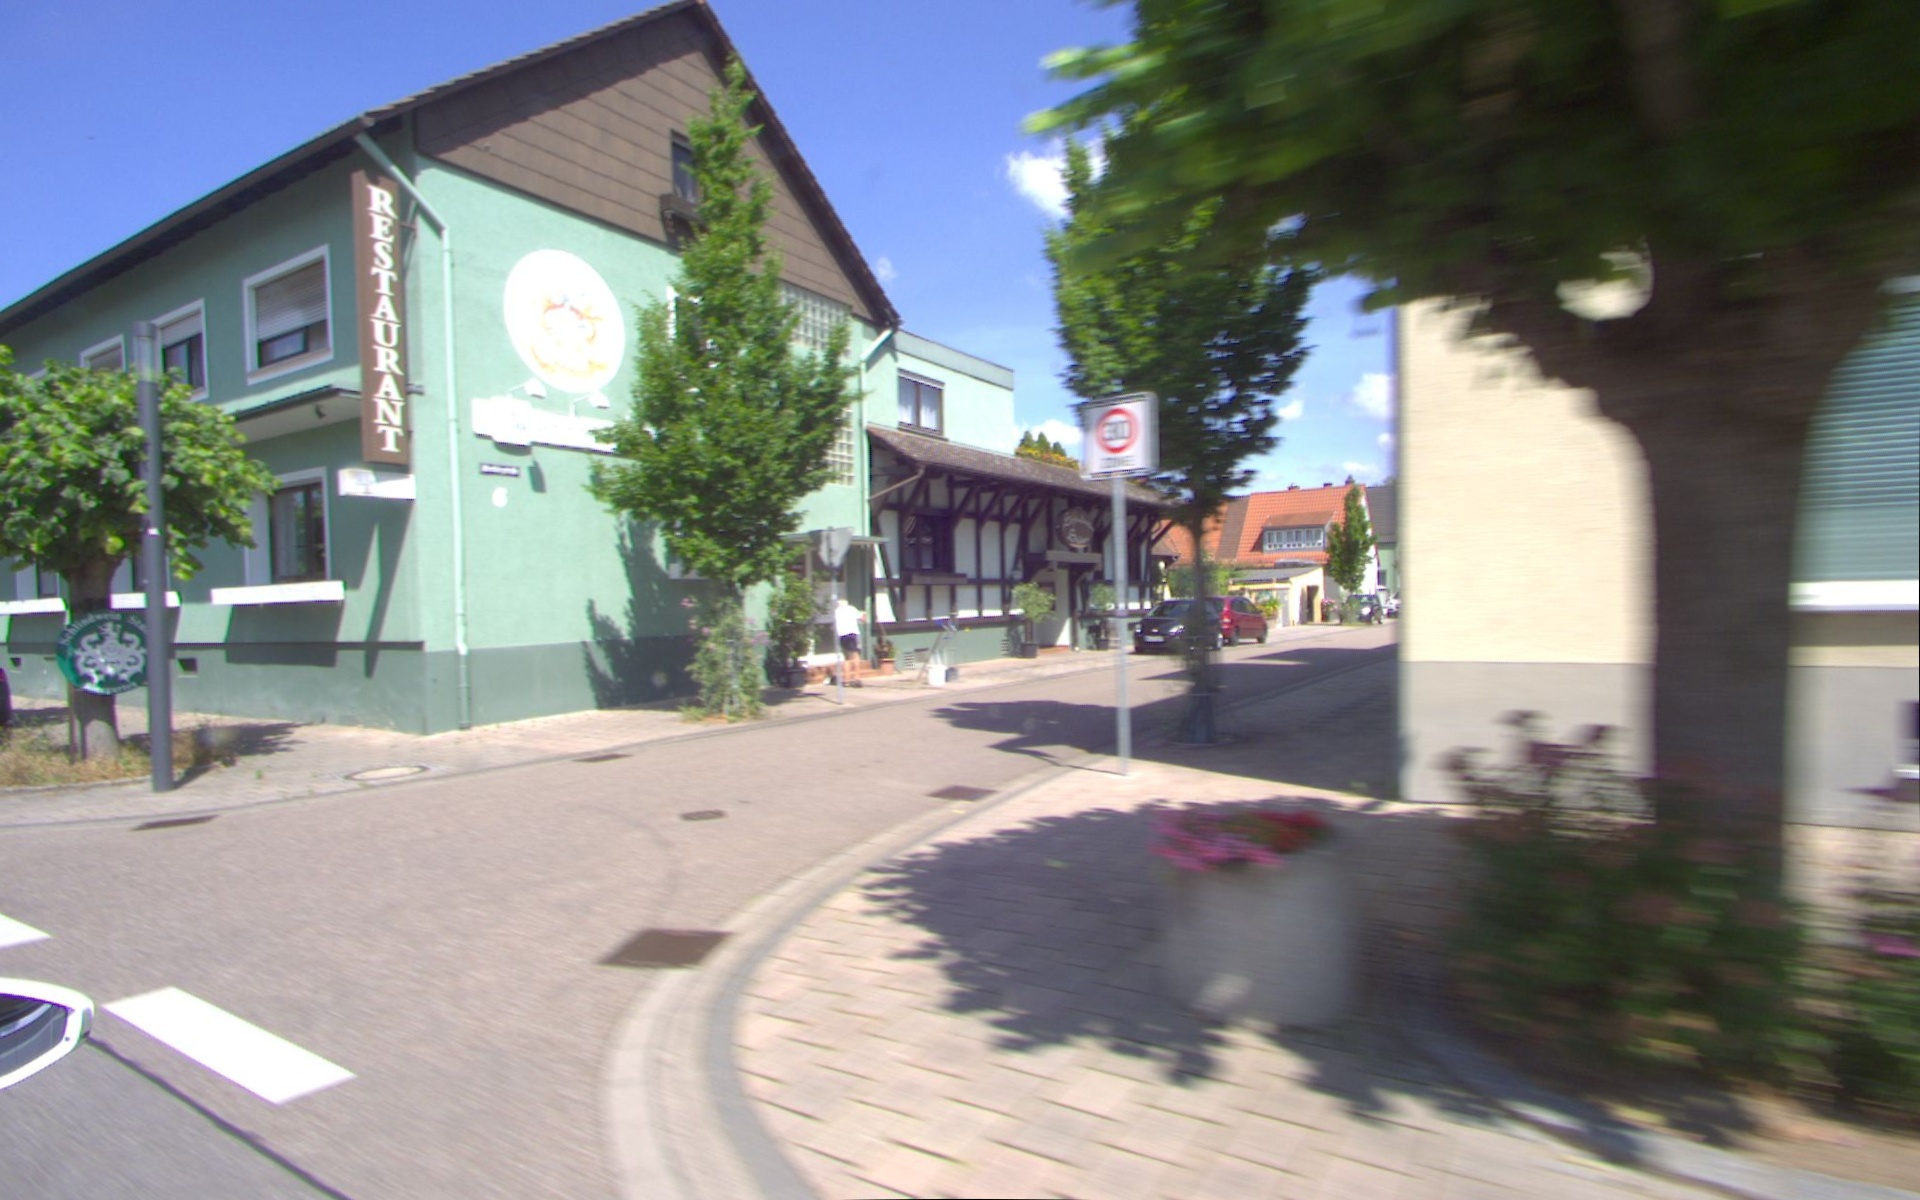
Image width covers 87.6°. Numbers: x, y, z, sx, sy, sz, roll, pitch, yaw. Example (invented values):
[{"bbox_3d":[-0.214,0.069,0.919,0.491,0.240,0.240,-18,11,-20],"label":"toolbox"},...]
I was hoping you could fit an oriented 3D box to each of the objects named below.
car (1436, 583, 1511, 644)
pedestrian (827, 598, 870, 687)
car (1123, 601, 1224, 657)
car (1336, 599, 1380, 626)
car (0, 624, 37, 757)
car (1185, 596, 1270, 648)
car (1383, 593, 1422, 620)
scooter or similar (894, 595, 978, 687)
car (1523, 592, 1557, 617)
[{"bbox_3d":[16.198,0.392,31.526,1.716,1.743,3.719,-4,-1,32],"label":"car"},{"bbox_3d":[-2.026,0.770,18.189,0.537,1.589,0.544,-2,-2,29],"label":"pedestrian"},{"bbox_3d":[6.056,0.789,28.114,1.601,1.476,3.721,-1,-1,32],"label":"car"},{"bbox_3d":[20.204,0.640,50.806,1.524,1.338,3.133,-1,-1,32],"label":"car"},{"bbox_3d":[-13.743,1.155,12.805,3.942,1.629,1.834,-1,-1,32],"label":"car"},{"bbox_3d":[8.854,0.705,32.945,1.715,1.619,3.721,-1,-1,32],"label":"car"},{"bbox_3d":[27.289,0.420,61.711,1.715,1.555,3.721,-1,-1,32],"label":"car"},{"bbox_3d":[-0.452,0.756,19.204,1.176,1.669,1.090,2,2,36],"label":"scooter or similar"},{"bbox_3d":[37.372,0.248,64.520,1.716,1.431,3.719,-4,-1,32],"label":"car"}]
